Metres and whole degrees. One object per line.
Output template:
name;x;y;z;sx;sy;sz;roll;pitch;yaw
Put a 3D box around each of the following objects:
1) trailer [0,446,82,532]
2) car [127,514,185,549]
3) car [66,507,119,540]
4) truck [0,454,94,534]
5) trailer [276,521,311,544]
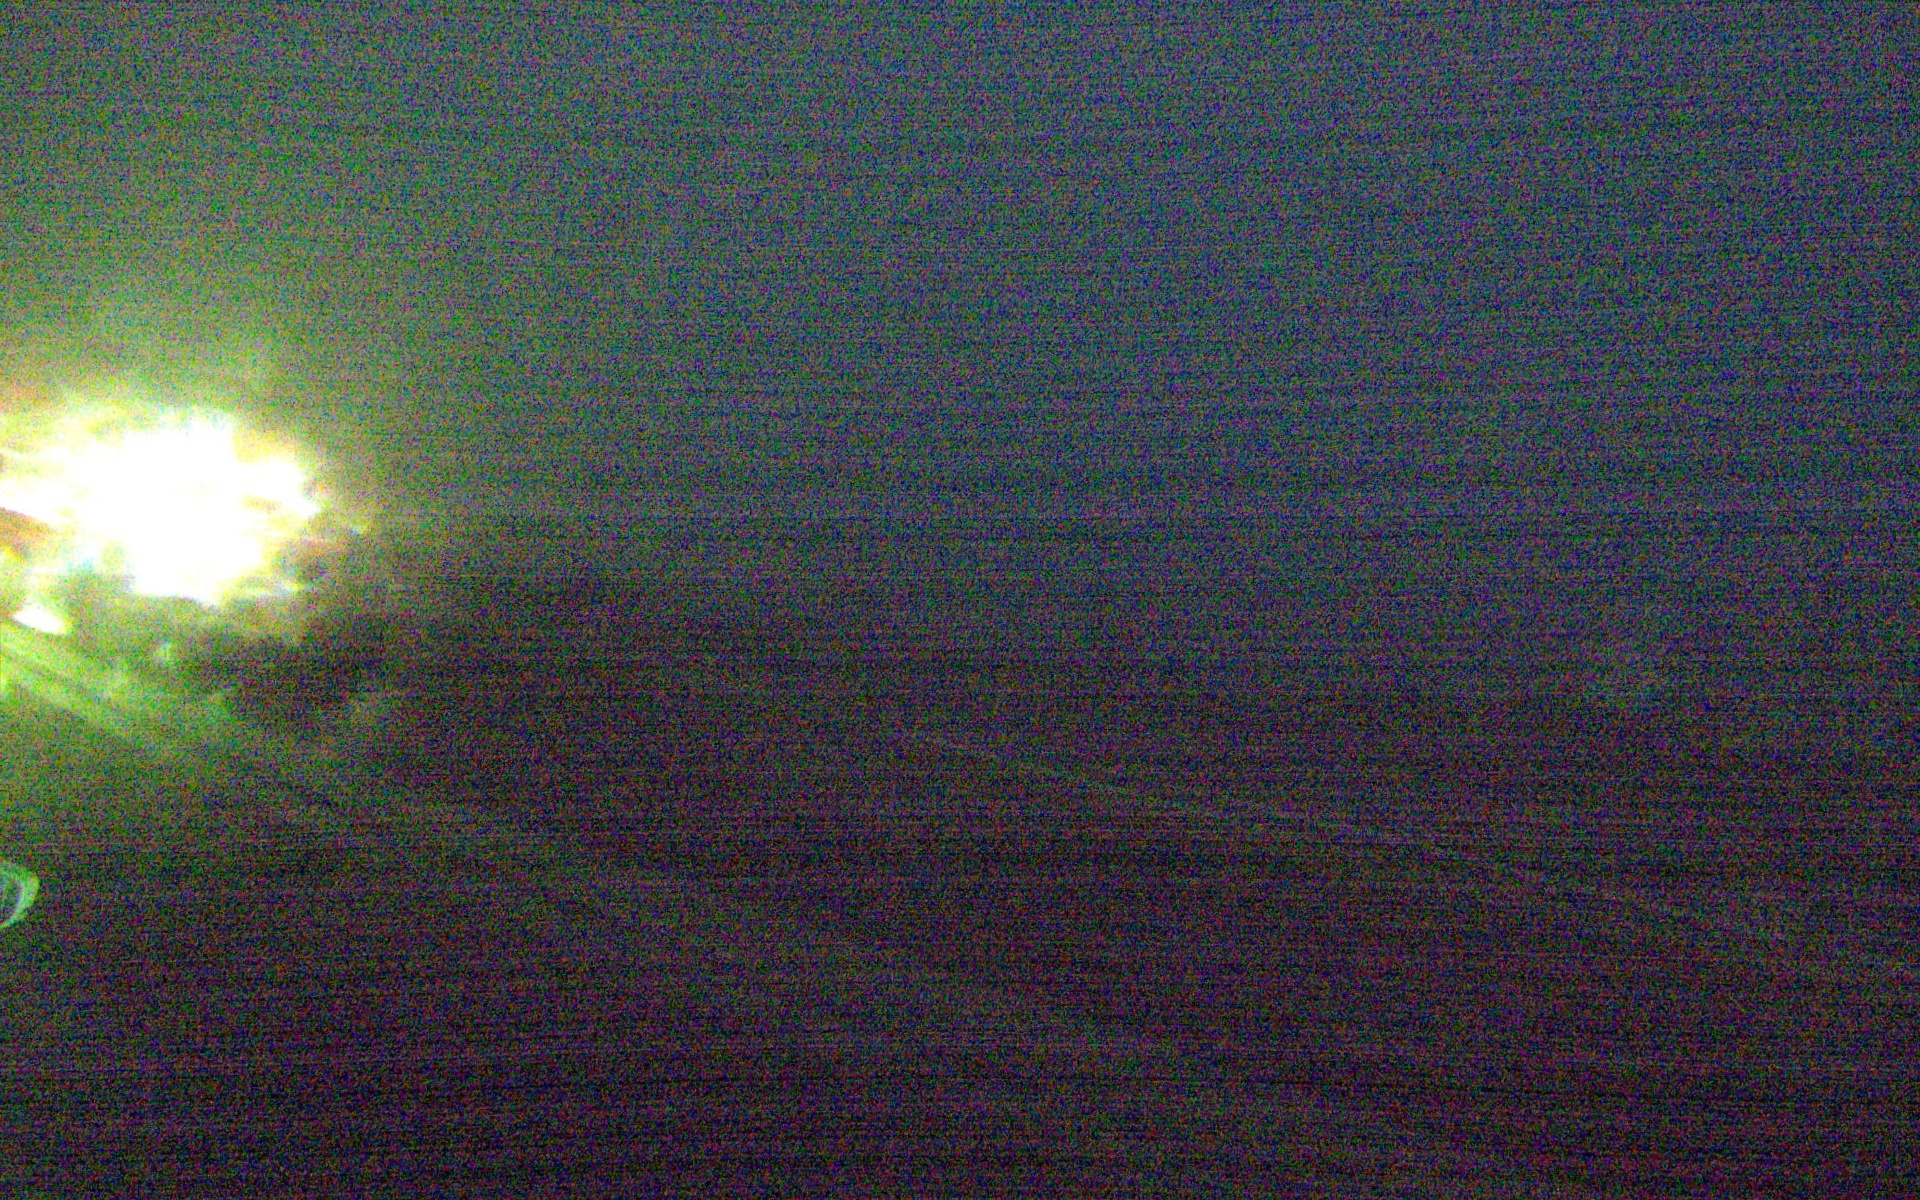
trailer;-50.287;-5.929;52.961;2.572;3.765;13.562;10;-3;-27
car;-53.544;-4.547;67.054;1.978;1.838;3.975;10;-3;-26
car;-68.816;-6.062;79.888;1.977;2.035;3.977;10;-3;-25
truck;-53.297;-6.072;58.712;2.569;3.751;5.422;10;-3;-28
trailer;-106.362;-10.780;160.669;2.666;2.729;12.779;10;-3;-26
